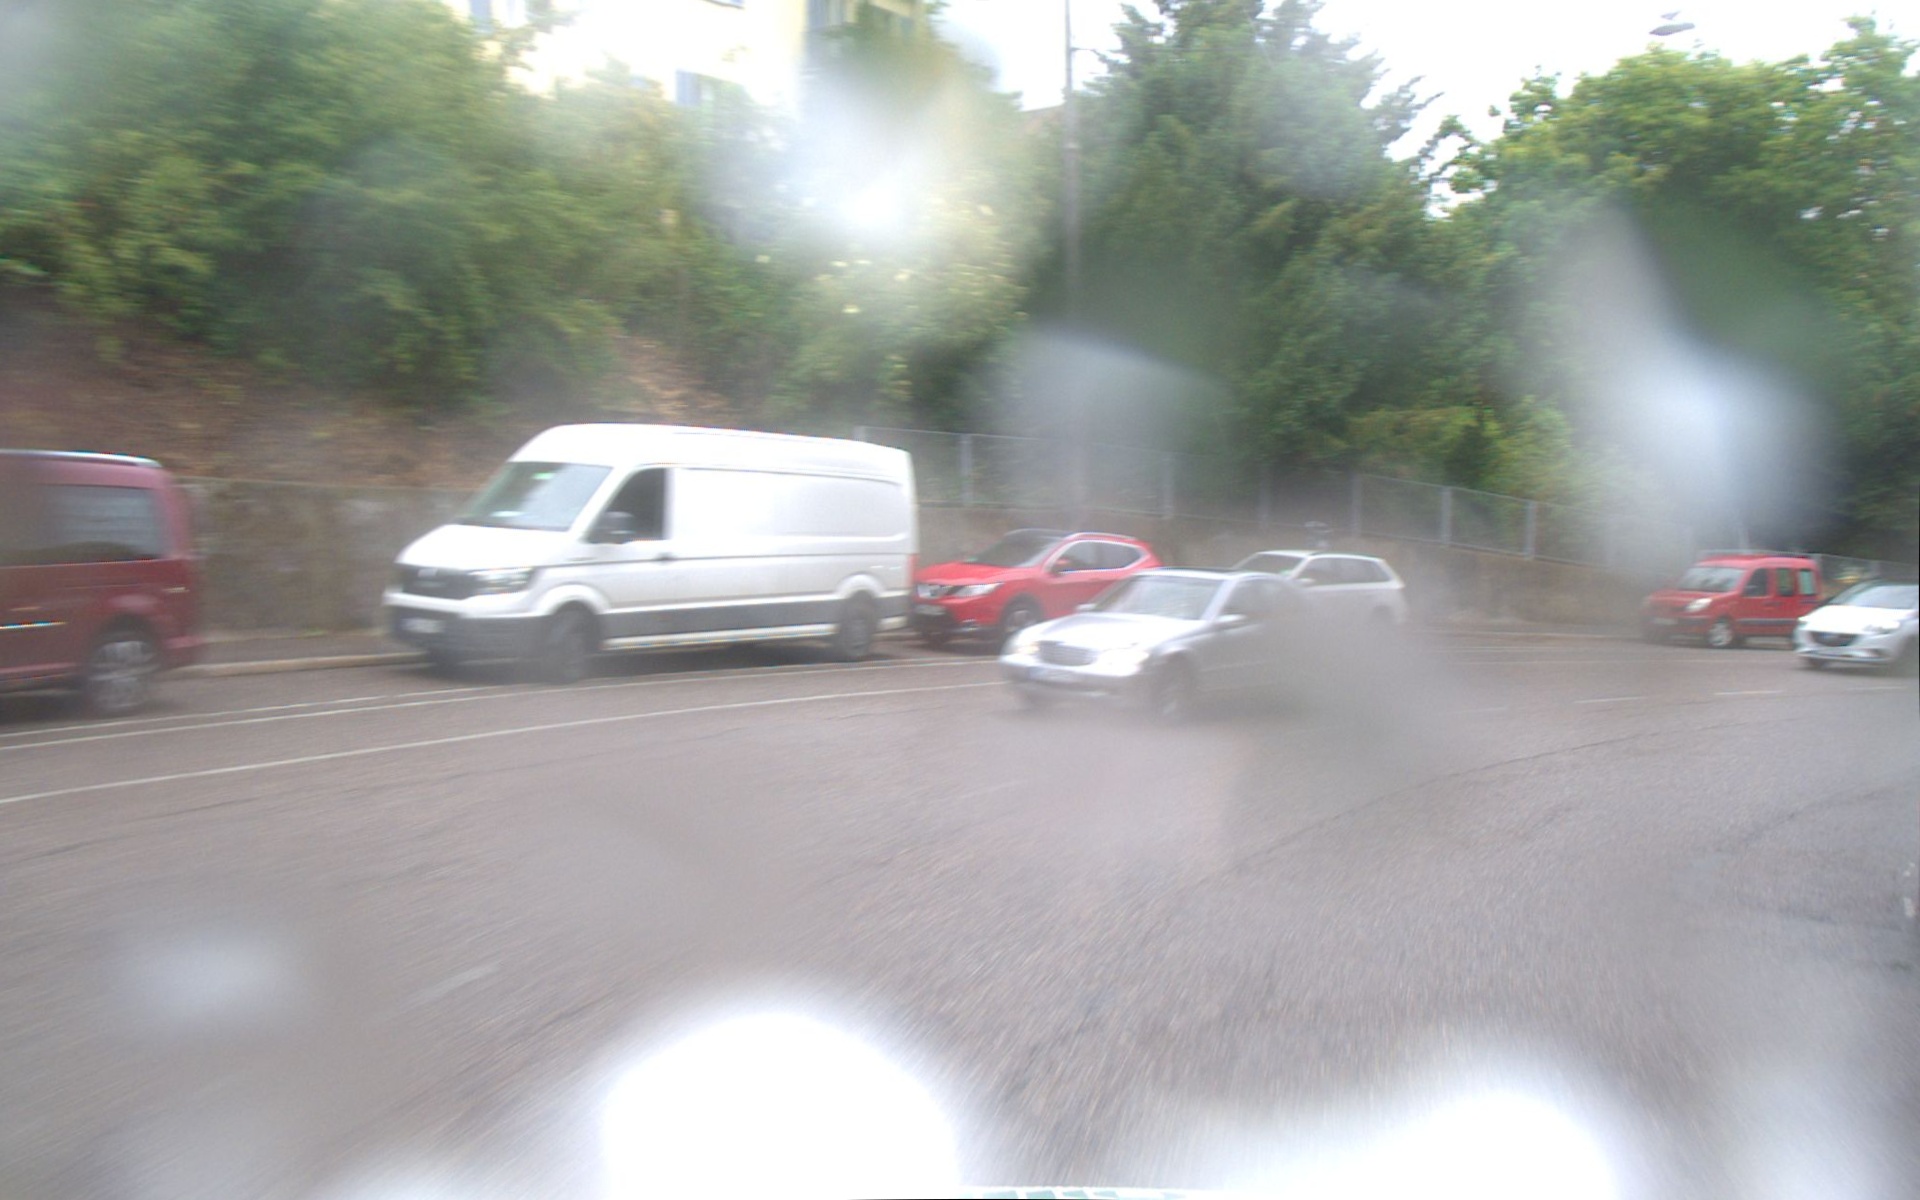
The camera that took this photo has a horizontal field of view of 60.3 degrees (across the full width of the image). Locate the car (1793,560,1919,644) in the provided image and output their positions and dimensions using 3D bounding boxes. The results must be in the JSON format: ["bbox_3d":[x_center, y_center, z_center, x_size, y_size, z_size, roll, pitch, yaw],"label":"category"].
[{"bbox_3d":[19.955,-0.008,35.003,4.331,1.647,1.983,-1,2,-27],"label":"car"}]

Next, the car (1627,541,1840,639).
[{"bbox_3d":[15.167,-0.186,32.411,4.079,1.798,1.739,1,1,-30],"label":"car"}]

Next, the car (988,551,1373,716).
[{"bbox_3d":[2.345,0.275,16.726,1.759,1.409,4.314,3,2,41],"label":"car"}]

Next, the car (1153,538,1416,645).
[{"bbox_3d":[5.233,-0.166,26.461,4.150,1.504,1.723,-1,5,-35],"label":"car"}]

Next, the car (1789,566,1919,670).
[{"bbox_3d":[15.443,0.249,26.800,3.975,1.521,1.593,0,3,-29],"label":"car"}]

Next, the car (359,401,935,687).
[{"bbox_3d":[-3.075,-0.635,18.267,2.000,2.574,6.801,4,3,34],"label":"car"}]

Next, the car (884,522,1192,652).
[{"bbox_3d":[1.166,-0.219,23.044,4.399,1.613,1.753,-1,4,-44],"label":"car"}]

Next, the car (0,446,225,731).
[{"bbox_3d":[-7.460,-0.106,10.974,1.952,1.908,4.824,3,3,19],"label":"car"}]

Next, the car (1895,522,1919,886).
[{"bbox_3d":[5.347,0.637,6.597,1.953,1.919,5.037,4,2,21],"label":"car"}]
